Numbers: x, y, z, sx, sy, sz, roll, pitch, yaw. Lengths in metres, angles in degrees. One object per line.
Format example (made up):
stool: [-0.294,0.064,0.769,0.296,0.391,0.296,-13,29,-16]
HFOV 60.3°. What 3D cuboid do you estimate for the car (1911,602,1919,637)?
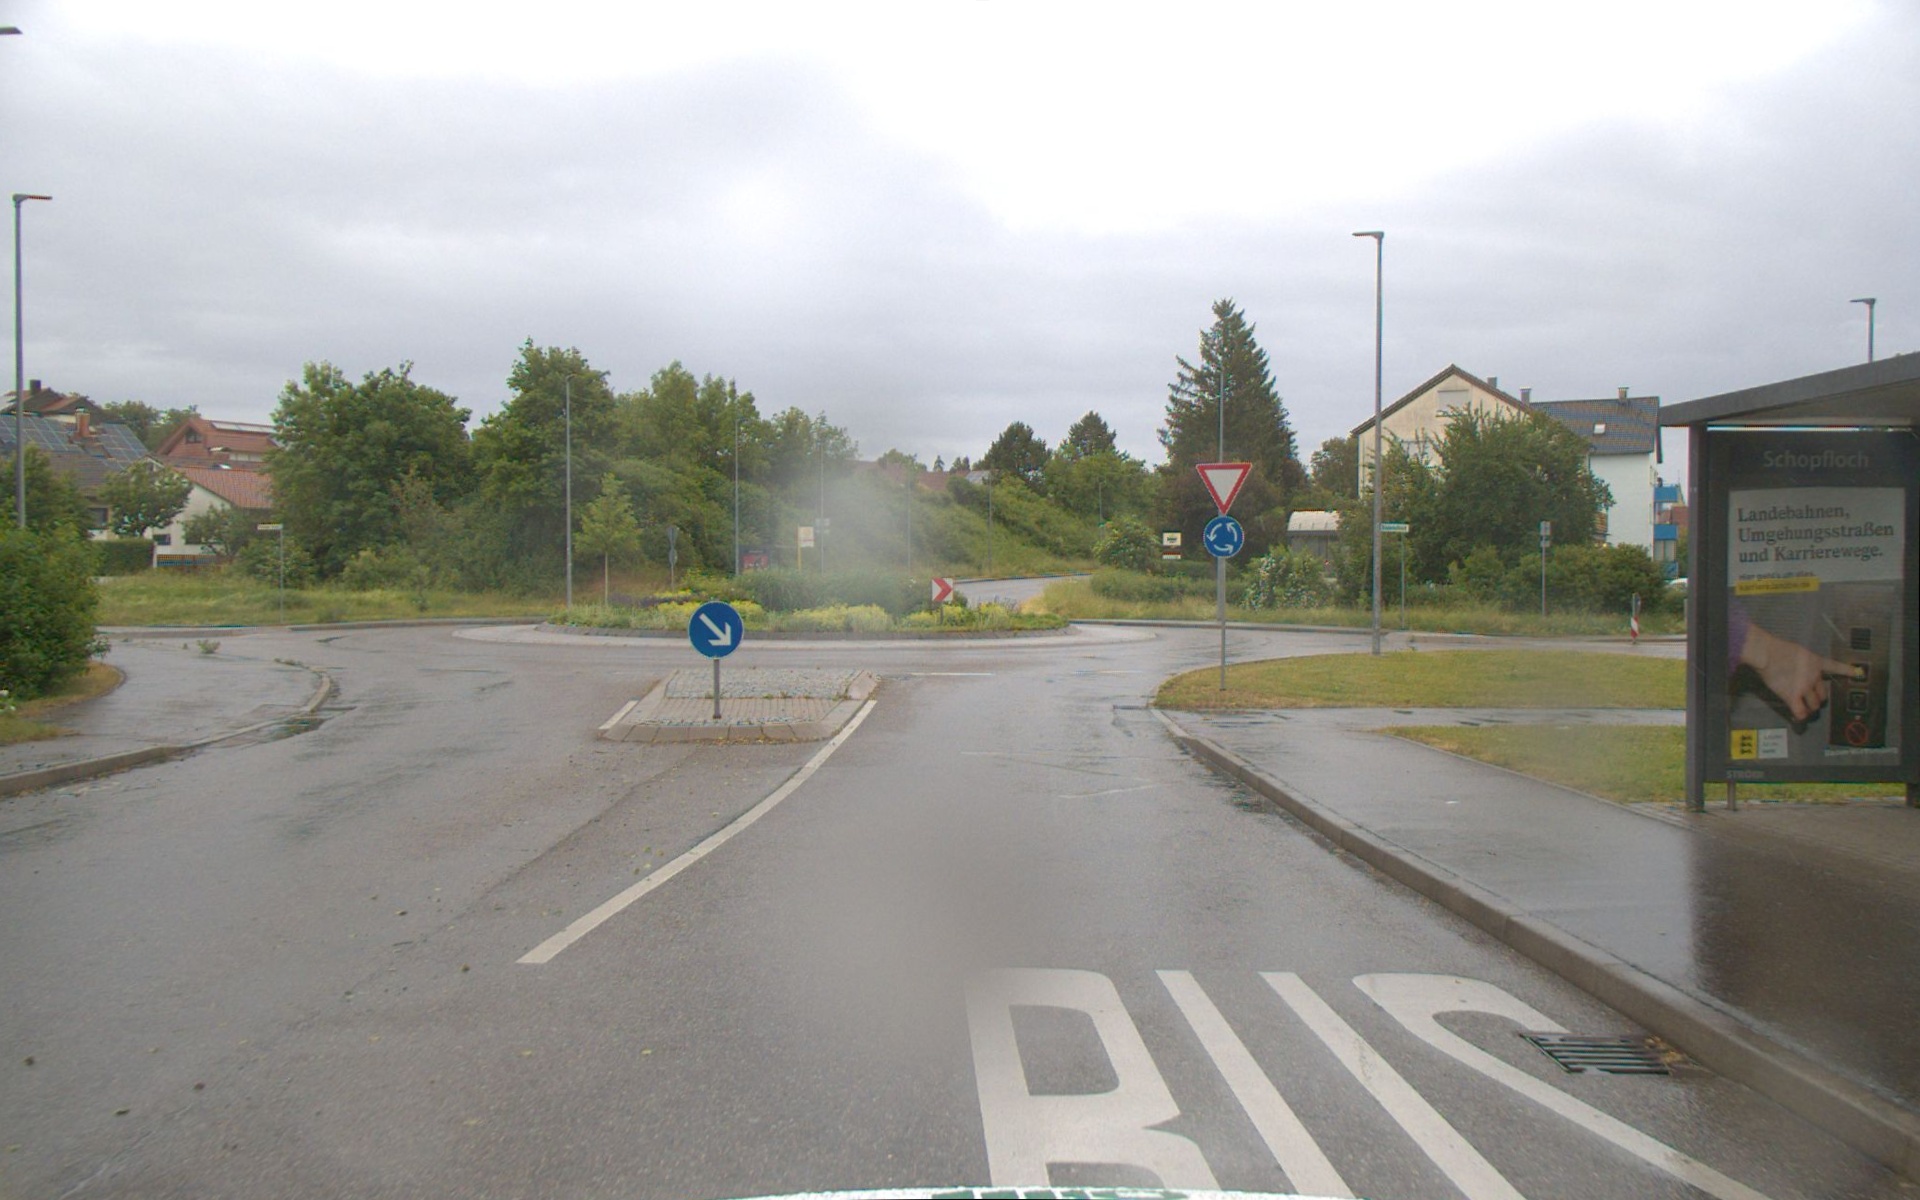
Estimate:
car: [40.901,0.806,67.119,3.910,1.398,1.782,1,1,28]
